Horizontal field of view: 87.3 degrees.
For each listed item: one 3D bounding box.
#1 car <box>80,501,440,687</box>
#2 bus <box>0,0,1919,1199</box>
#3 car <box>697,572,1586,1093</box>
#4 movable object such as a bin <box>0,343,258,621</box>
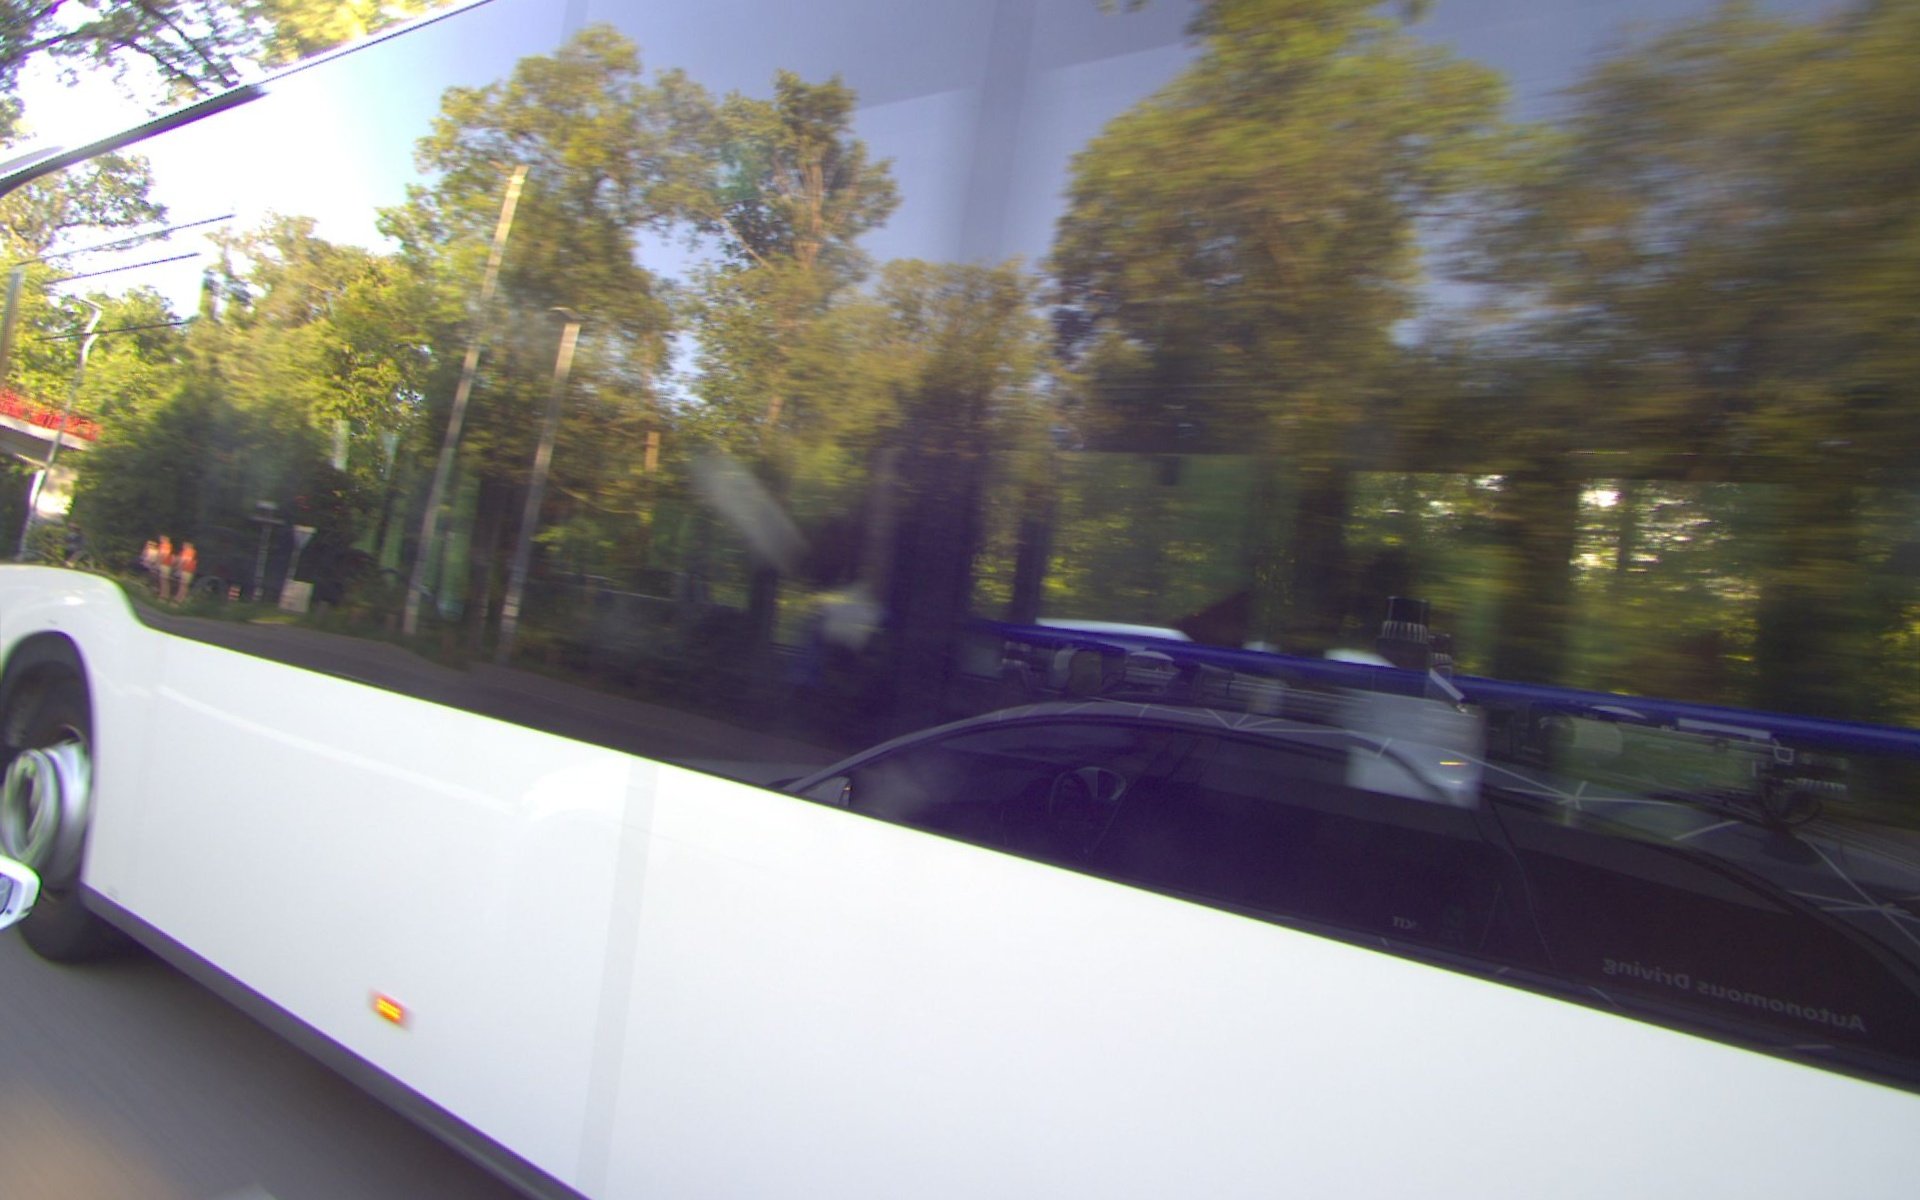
[{"bbox_3d":[-8.007,-0.094,11.435,4.021,1.593,1.730,7,0,31],"label":"car"},{"bbox_3d":[0.269,0.080,2.769,12.074,3.260,2.709,7,-1,32],"label":"bus"},{"bbox_3d":[0.841,0.919,5.706,4.384,1.593,1.841,7,0,31],"label":"car"},{"bbox_3d":[-14.672,-1.855,15.813,7.470,3.412,2.763,7,0,29],"label":"movable object such as a bin"}]
